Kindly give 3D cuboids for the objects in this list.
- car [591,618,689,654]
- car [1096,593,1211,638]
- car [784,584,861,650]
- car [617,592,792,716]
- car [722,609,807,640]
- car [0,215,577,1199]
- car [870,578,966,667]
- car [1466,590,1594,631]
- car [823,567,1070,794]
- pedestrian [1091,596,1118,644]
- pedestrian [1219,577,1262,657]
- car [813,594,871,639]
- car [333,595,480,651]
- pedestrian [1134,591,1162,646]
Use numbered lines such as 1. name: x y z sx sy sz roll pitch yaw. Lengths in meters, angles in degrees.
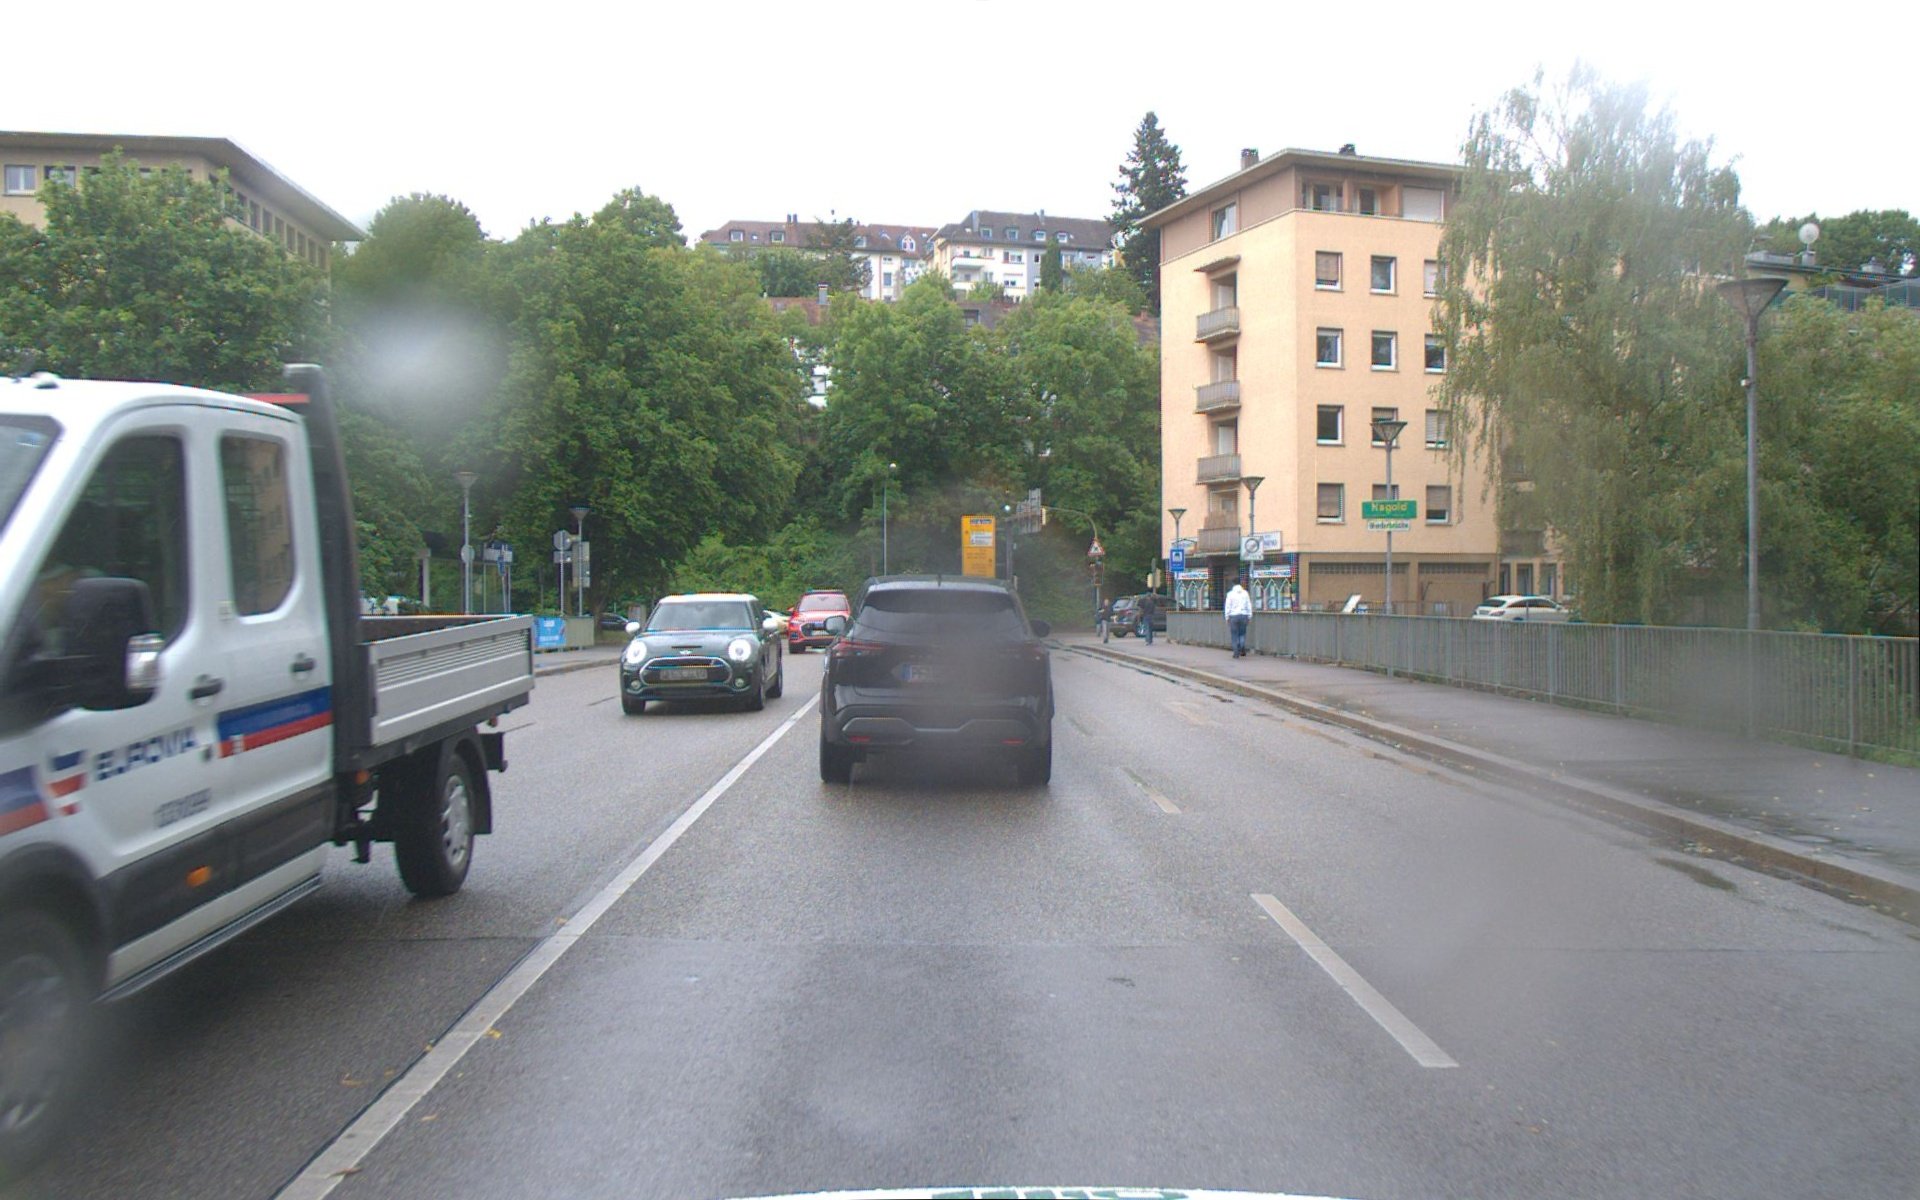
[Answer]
1. car: -14.390 1.626 74.515 3.995 1.441 1.715 -2 0 3
2. car: 7.859 0.615 67.168 4.315 1.678 1.867 -2 0 -27
3. car: -3.896 0.451 47.457 1.850 1.765 4.370 -1 0 -1
4. car: -3.284 0.640 21.946 1.710 1.464 3.999 -1 0 -1
5. car: -9.882 1.233 83.564 4.001 1.441 1.713 -2 0 27
6. car: -3.309 0.306 6.347 2.243 2.349 6.507 -2 1 -1
7. car: -0.830 0.411 33.069 1.774 1.631 3.999 1 0 -1
8. car: 21.515 0.375 62.419 4.370 1.400 1.808 -1 2 -18
9. car: -0.130 0.573 13.996 1.774 1.631 3.999 1 0 -1
10. pedestrian: 5.063 0.696 57.991 0.845 1.647 0.839 -1 -1 -1
11. pedestrian: 6.353 0.387 37.531 0.764 1.783 1.060 -1 -1 -2
12. car: -4.052 0.535 57.393 1.745 1.427 4.218 -2 0 -1
13. car: -19.595 0.786 58.722 4.655 1.886 1.996 0 2 -10
14. pedestrian: 5.976 0.582 52.584 0.745 1.706 0.781 -2 0 -1
